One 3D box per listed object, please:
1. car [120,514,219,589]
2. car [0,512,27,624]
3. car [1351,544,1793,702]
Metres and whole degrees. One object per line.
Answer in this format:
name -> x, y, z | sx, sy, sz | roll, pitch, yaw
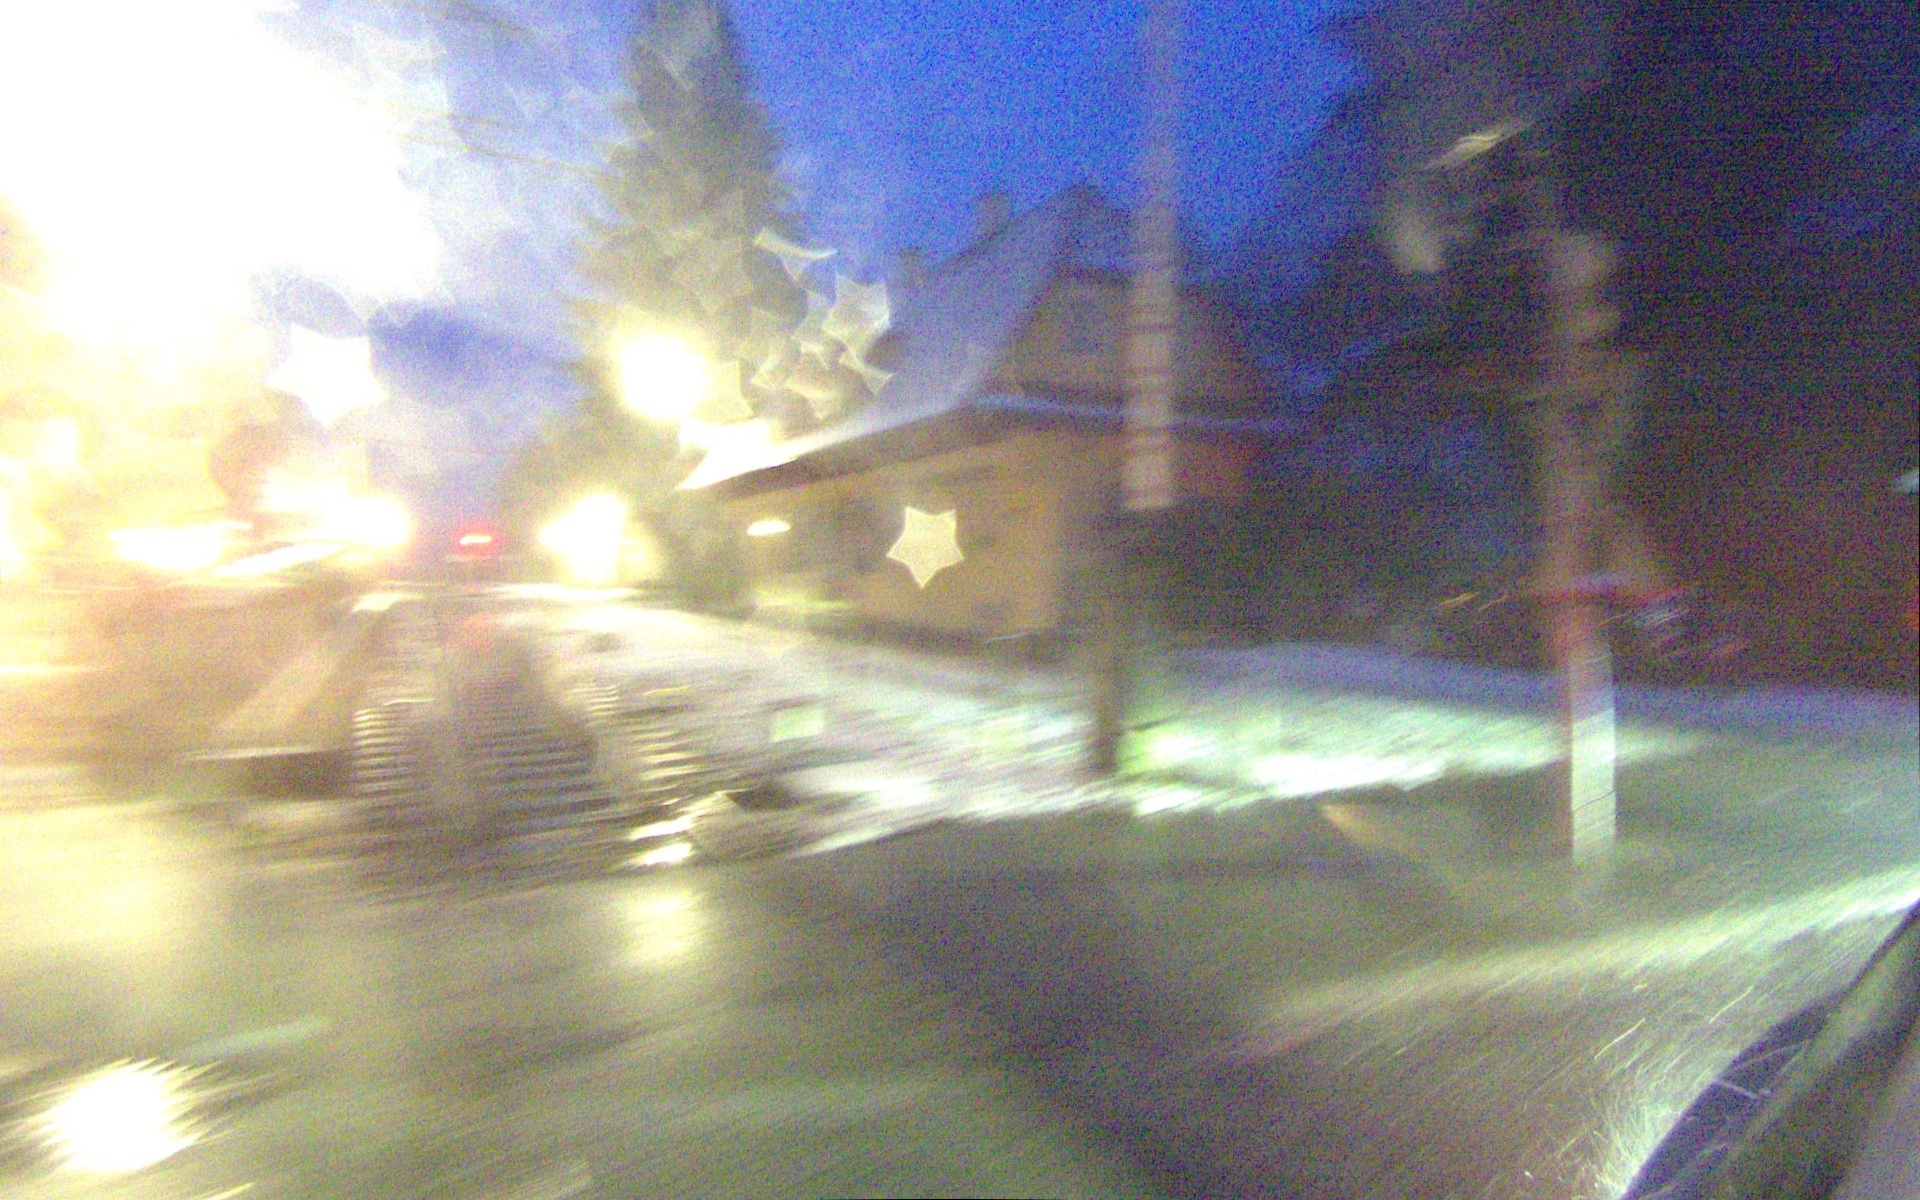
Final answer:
car -> -22.783, -1.332, 29.314 | 1.742, 1.972, 4.257 | 1, 0, -32
car -> -13.391, -0.394, 12.501 | 1.877, 1.529, 4.247 | 1, 3, -31
car -> 7.593, 0.154, 13.104 | 1.900, 1.605, 4.490 | 1, 3, -29
